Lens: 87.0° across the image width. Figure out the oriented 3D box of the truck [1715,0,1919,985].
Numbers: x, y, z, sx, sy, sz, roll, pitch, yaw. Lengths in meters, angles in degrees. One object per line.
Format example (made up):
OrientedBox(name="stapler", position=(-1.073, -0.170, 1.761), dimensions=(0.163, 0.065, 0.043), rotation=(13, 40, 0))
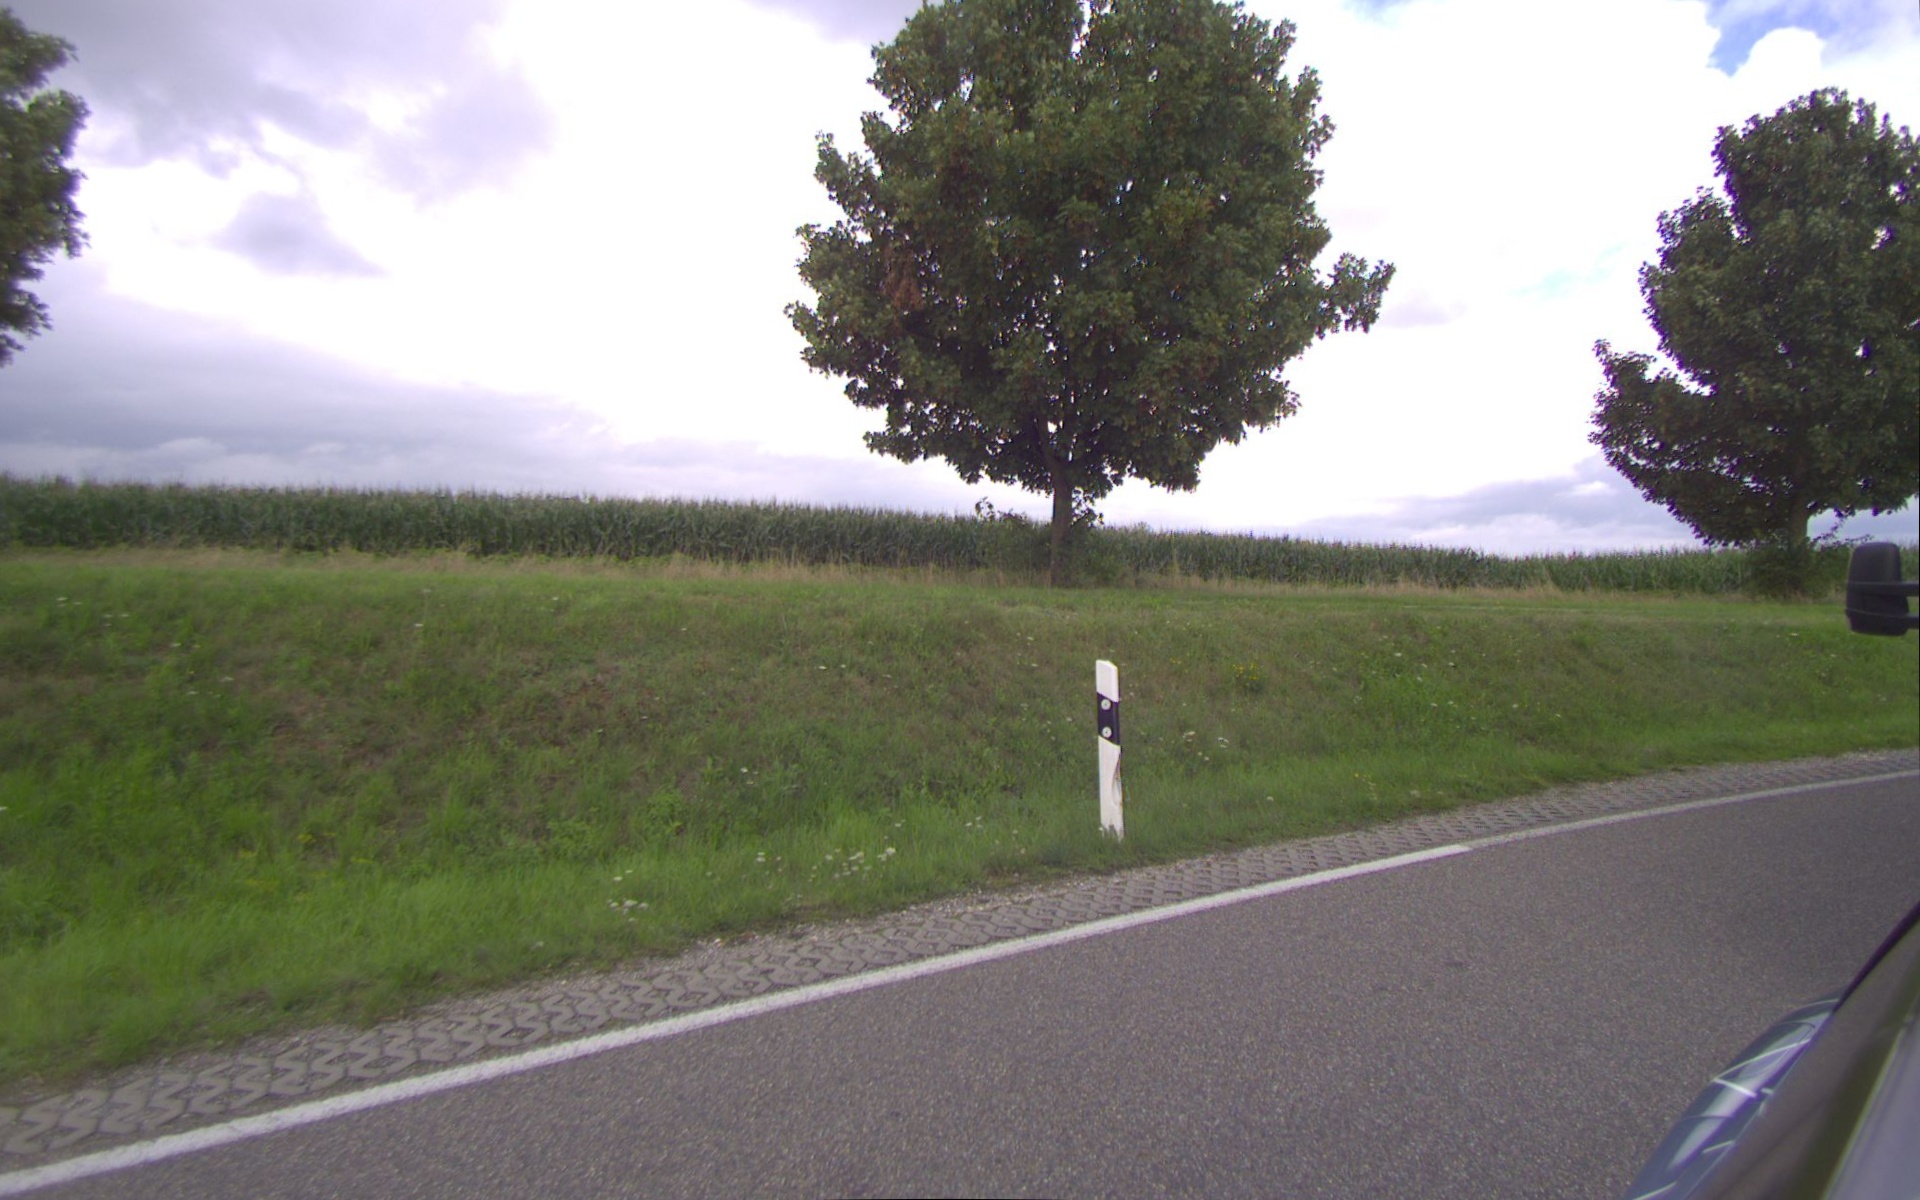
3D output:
OrientedBox(name="truck", position=(7.190, -0.634, 4.570), dimensions=(8.623, 3.810, 2.843), rotation=(1, 1, -30))
